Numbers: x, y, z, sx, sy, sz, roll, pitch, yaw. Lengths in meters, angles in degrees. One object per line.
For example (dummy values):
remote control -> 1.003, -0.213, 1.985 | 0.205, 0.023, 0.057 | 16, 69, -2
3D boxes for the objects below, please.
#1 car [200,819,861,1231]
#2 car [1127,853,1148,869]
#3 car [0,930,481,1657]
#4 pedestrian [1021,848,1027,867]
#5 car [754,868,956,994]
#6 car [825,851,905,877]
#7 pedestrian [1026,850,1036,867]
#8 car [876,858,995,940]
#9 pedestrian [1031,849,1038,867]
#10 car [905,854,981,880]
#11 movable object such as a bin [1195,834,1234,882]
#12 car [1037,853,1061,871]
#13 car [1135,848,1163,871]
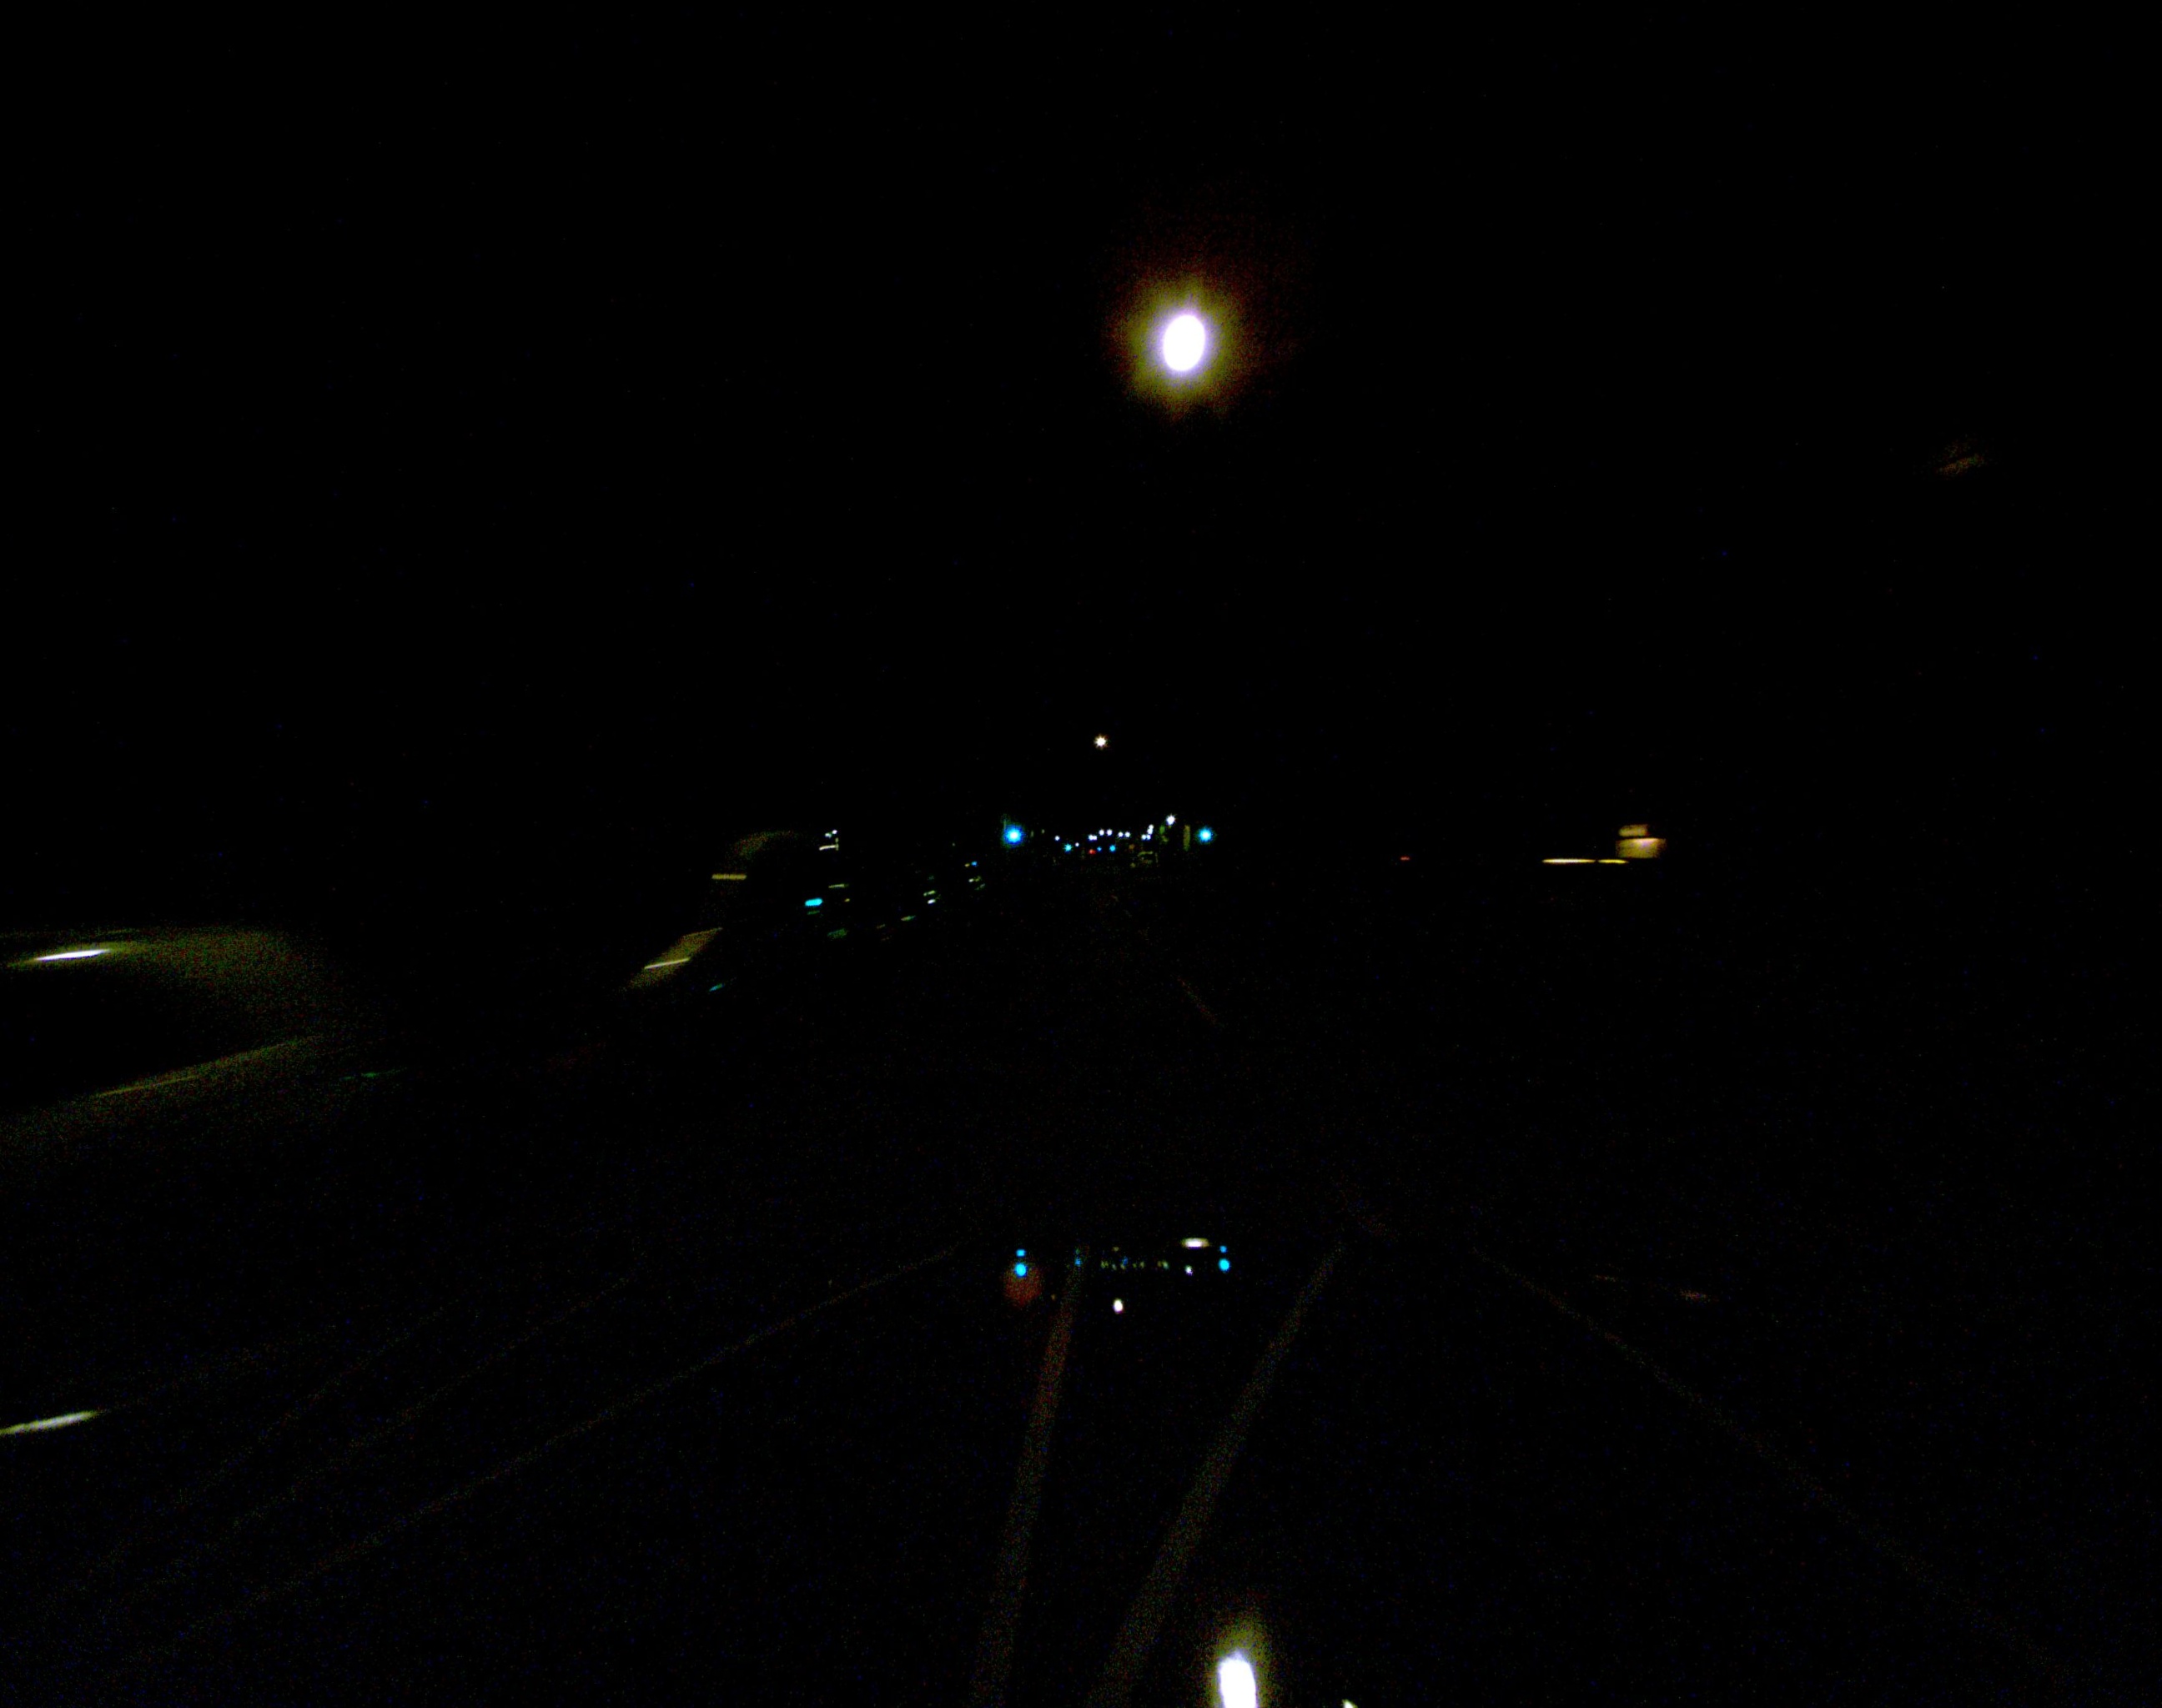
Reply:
car -> -3.103, 0.771, 5.581 | 1.740, 1.844, 4.315 | 1, 0, -1
car -> 5.568, 0.639, 74.989 | 1.843, 1.441, 4.881 | -1, 1, 1
car -> -3.140, 1.008, 0.776 | 1.732, 1.411, 4.322 | 0, 0, -2
pedestrian -> -5.263, 0.337, 70.180 | 0.478, 1.699, 0.571 | 0, 1, 1
car -> -3.117, 0.980, 11.463 | 1.690, 1.412, 4.443 | 1, 0, 0
car -> -12.576, 0.579, 44.423 | 4.203, 1.459, 1.851 | 1, 1, -3
pedestrian -> -4.789, 0.408, 72.426 | 0.809, 1.622, 0.966 | -1, 1, 1
car -> -3.035, 0.884, 16.712 | 1.744, 1.469, 4.000 | 2, 0, 1
pedestrian -> -4.286, 0.347, 70.207 | 0.508, 1.699, 0.705 | 0, 1, 1
car -> -7.829, 0.732, 43.376 | 4.025, 1.414, 1.851 | 0, 2, -1
movable object such as a bin -> 7.716, 0.203, 44.205 | 1.575, 2.611, 3.909 | 1, 1, 1
car -> -2.682, 0.675, 64.831 | 1.740, 1.446, 4.000 | 1, 1, 2
car -> 5.760, 0.448, 65.078 | 1.888, 1.832, 4.814 | 0, 0, 0
